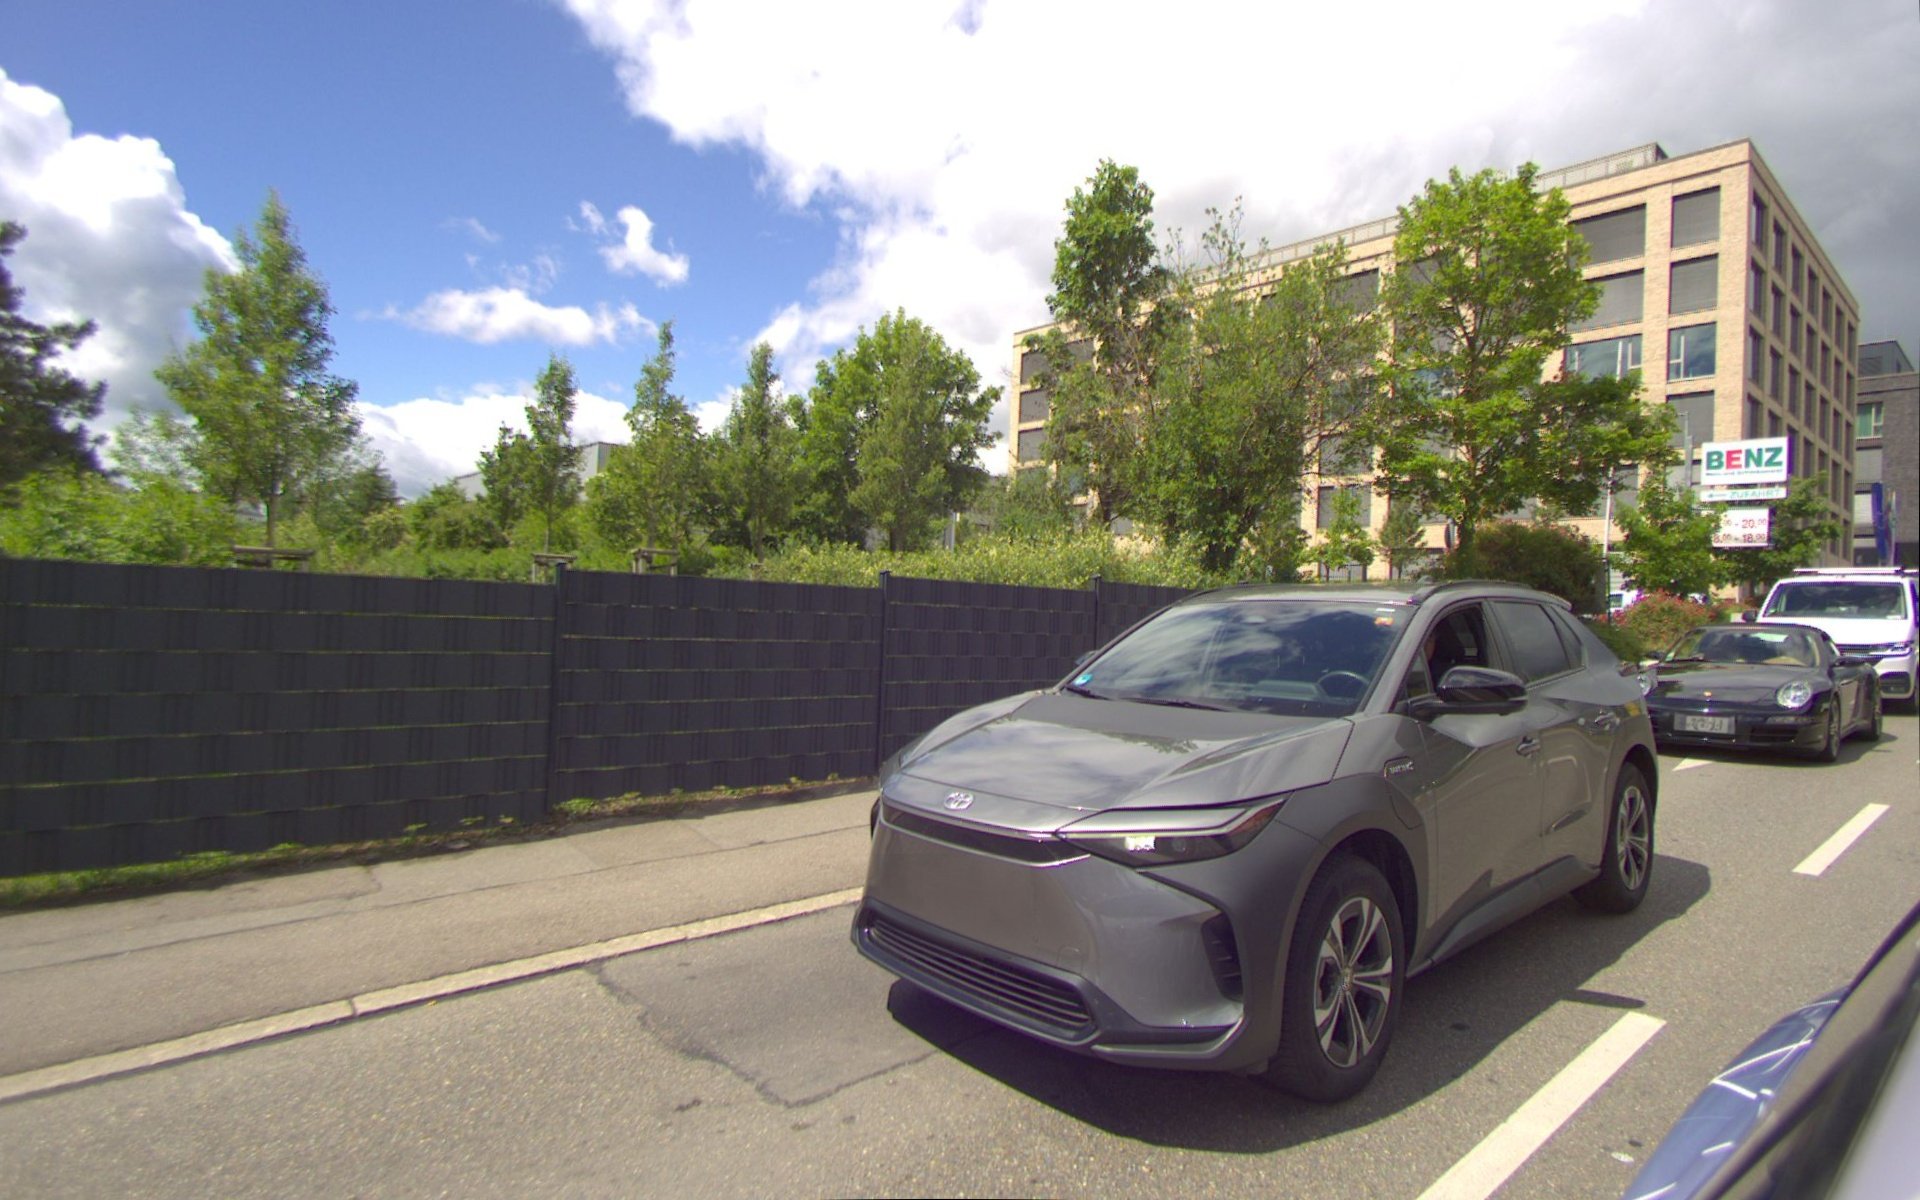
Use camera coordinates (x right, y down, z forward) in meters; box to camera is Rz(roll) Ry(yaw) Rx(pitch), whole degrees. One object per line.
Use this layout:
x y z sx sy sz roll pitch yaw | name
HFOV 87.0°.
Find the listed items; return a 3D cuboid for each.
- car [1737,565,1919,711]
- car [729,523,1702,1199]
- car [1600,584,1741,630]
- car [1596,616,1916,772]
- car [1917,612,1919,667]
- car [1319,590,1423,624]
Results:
13.482 0.510 15.228 4.563 1.874 1.962 0 -1 -41 | car
1.506 0.662 4.504 4.601 1.634 1.922 0 -1 -41 | car
27.484 0.226 39.250 1.707 1.596 4.211 1 1 -44 | car
8.543 0.830 10.713 4.487 1.290 1.776 0 -1 -40 | car
25.146 0.819 24.897 4.489 1.290 1.776 -3 0 -40 | car
19.388 0.302 47.839 1.705 1.436 4.215 1 1 -41 | car
